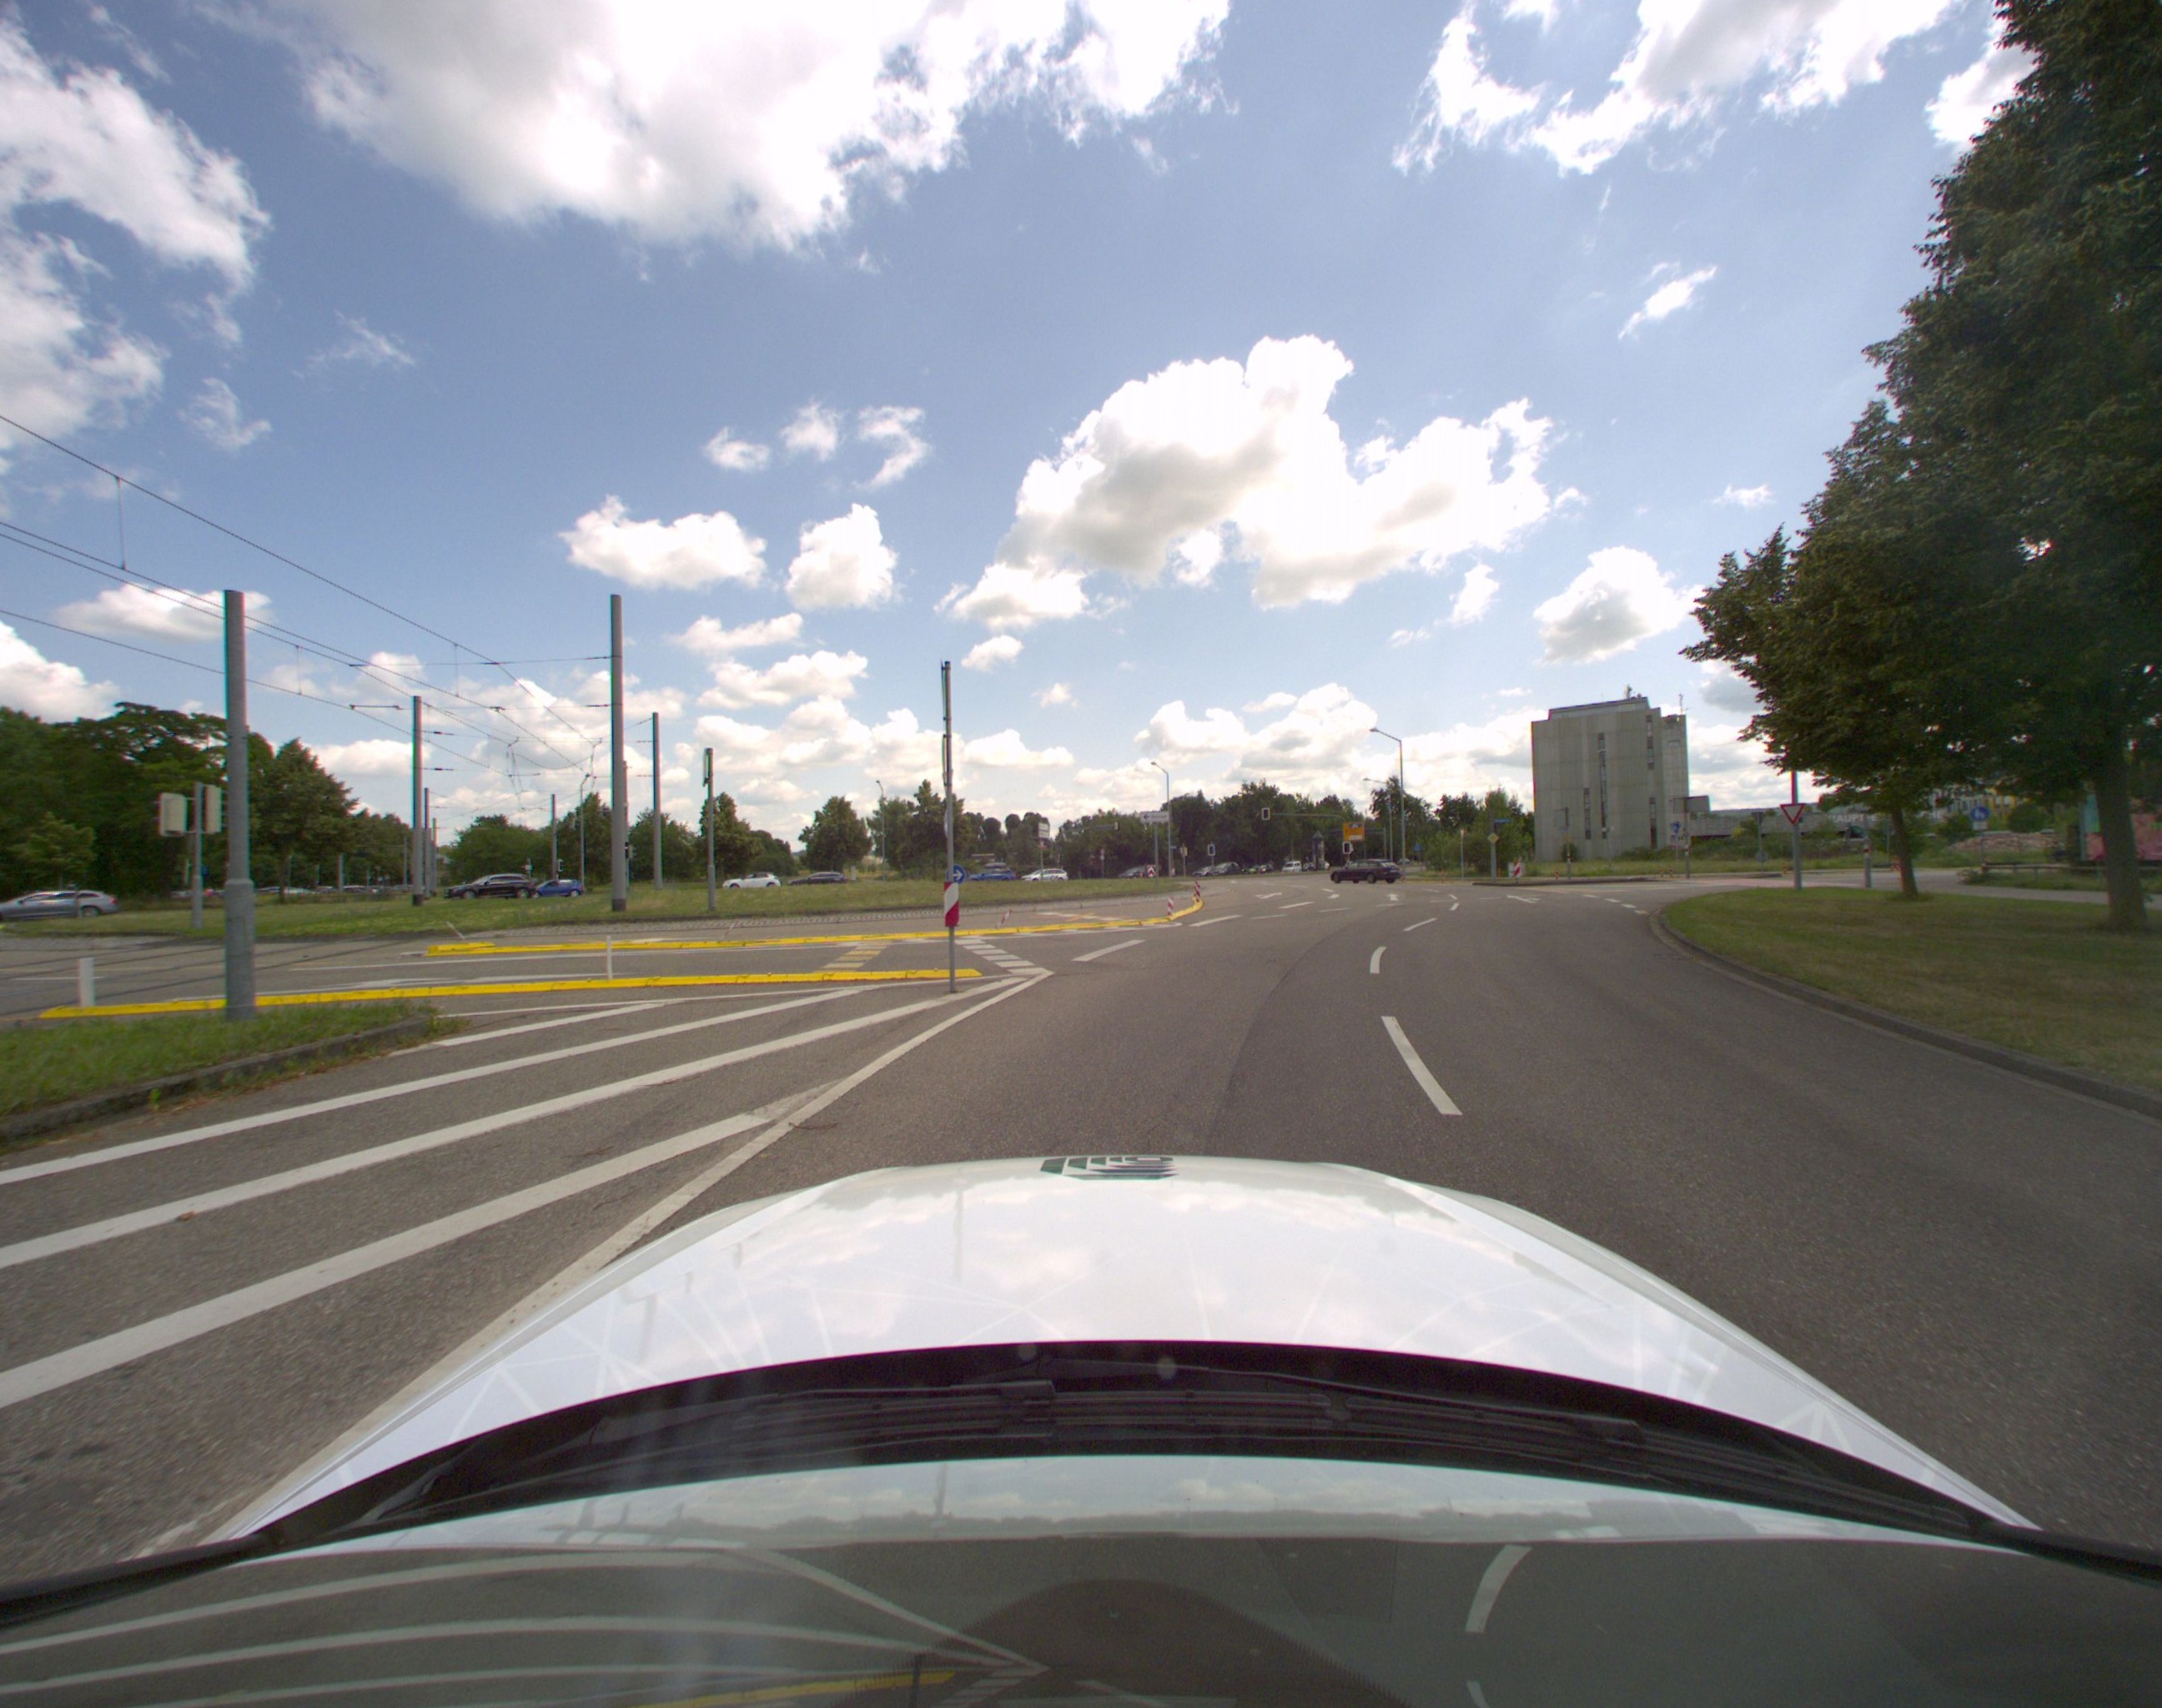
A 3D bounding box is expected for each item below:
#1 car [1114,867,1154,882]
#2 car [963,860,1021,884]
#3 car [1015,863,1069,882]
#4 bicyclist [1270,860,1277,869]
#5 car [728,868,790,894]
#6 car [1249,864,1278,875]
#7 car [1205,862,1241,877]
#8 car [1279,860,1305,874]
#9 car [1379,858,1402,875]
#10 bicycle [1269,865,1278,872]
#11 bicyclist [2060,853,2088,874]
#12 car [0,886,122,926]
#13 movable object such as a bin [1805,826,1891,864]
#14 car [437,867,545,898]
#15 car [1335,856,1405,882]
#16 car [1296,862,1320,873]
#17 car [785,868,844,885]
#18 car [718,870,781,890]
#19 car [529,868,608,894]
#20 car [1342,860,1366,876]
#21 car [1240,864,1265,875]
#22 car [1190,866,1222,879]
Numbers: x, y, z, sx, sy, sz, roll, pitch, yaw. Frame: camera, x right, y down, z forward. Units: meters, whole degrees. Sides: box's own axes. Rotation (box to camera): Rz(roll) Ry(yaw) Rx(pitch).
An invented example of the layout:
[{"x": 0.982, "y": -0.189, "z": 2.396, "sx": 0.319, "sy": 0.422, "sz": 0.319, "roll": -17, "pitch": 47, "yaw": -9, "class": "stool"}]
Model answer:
[{"x": 5.372, "y": 2.036, "z": 82.226, "sx": 4.002, "sy": 1.340, "sz": 1.780, "roll": -1, "pitch": -2, "yaw": -44, "class": "car"}, {"x": -7.324, "y": 1.473, "z": 67.115, "sx": 4.411, "sy": 1.798, "sz": 1.743, "roll": -1, "pitch": 0, "yaw": -22, "class": "car"}, {"x": -3.534, "y": 1.682, "z": 74.584, "sx": 4.526, "sy": 1.521, "sz": 2.101, "roll": -1, "pitch": 0, "yaw": -35, "class": "car"}, {"x": 31.687, "y": 1.724, "z": 134.000, "sx": 0.822, "sy": 1.565, "sz": 0.889, "roll": 0, "pitch": 0, "yaw": 35, "class": "bicyclist"}, {"x": -27.570, "y": 2.266, "z": 69.832, "sx": 4.738, "sy": 2.014, "sz": 1.981, "roll": -1, "pitch": 0, "yaw": -29, "class": "car"}, {"x": 24.123, "y": 2.030, "z": 107.434, "sx": 1.820, "sy": 1.311, "sz": 4.818, "roll": -4, "pitch": -3, "yaw": 38, "class": "car"}, {"x": 15.757, "y": 1.734, "z": 90.087, "sx": 1.889, "sy": 1.592, "sz": 4.621, "roll": -2, "pitch": -2, "yaw": 39, "class": "car"}, {"x": 29.800, "y": 1.814, "z": 115.005, "sx": 1.820, "sy": 1.799, "sz": 4.818, "roll": -4, "pitch": -3, "yaw": 36, "class": "car"}, {"x": 32.737, "y": 1.319, "z": 86.153, "sx": 1.976, "sy": 1.626, "sz": 4.333, "roll": -2, "pitch": 0, "yaw": 23, "class": "car"}, {"x": 31.709, "y": 2.364, "z": 134.040, "sx": 0.753, "sy": 1.219, "sz": 2.029, "roll": 0, "pitch": 0, "yaw": 35, "class": "bicycle"}, {"x": 65.658, "y": 0.626, "z": 53.835, "sx": 0.808, "sy": 1.325, "sz": 0.874, "roll": 1, "pitch": -1, "yaw": -5, "class": "bicyclist"}, {"x": -49.555, "y": 2.449, "z": 38.614, "sx": 2.040, "sy": 1.626, "sz": 4.973, "roll": 0, "pitch": 0, "yaw": 28, "class": "car"}, {"x": 83.589, "y": -0.937, "z": 88.770, "sx": 7.596, "sy": 3.853, "sz": 3.037, "roll": 1, "pitch": -1, "yaw": -12, "class": "movable object such as a bin"}, {"x": -36.721, "y": 1.742, "z": 50.831, "sx": 1.974, "sy": 1.675, "sz": 5.103, "roll": -2, "pitch": 0, "yaw": 35, "class": "car"}, {"x": 17.320, "y": 0.867, "z": 48.938, "sx": 1.692, "sy": 1.463, "sz": 3.966, "roll": 0, "pitch": -1, "yaw": -26, "class": "car"}, {"x": 33.360, "y": 2.020, "z": 119.729, "sx": 1.820, "sy": 1.480, "sz": 4.783, "roll": -4, "pitch": -3, "yaw": 35, "class": "car"}, {"x": -22.028, "y": 1.844, "z": 67.474, "sx": 4.487, "sy": 1.323, "sz": 1.943, "roll": -1, "pitch": 0, "yaw": -17, "class": "car"}, {"x": -24.743, "y": 1.930, "z": 60.936, "sx": 4.315, "sy": 1.329, "sz": 1.985, "roll": -1, "pitch": -1, "yaw": -22, "class": "car"}, {"x": -38.814, "y": 2.033, "z": 61.719, "sx": 4.753, "sy": 1.791, "sz": 1.826, "roll": 1, "pitch": 2, "yaw": -45, "class": "car"}, {"x": 34.398, "y": 1.713, "z": 102.660, "sx": 1.974, "sy": 2.014, "sz": 4.025, "roll": -1, "pitch": -1, "yaw": 33, "class": "car"}, {"x": 23.432, "y": 2.137, "z": 111.106, "sx": 1.600, "sy": 1.348, "sz": 4.197, "roll": -4, "pitch": -3, "yaw": 36, "class": "car"}, {"x": 14.331, "y": 2.114, "z": 93.235, "sx": 1.887, "sy": 1.423, "sz": 4.218, "roll": -2, "pitch": -1, "yaw": 34, "class": "car"}]
